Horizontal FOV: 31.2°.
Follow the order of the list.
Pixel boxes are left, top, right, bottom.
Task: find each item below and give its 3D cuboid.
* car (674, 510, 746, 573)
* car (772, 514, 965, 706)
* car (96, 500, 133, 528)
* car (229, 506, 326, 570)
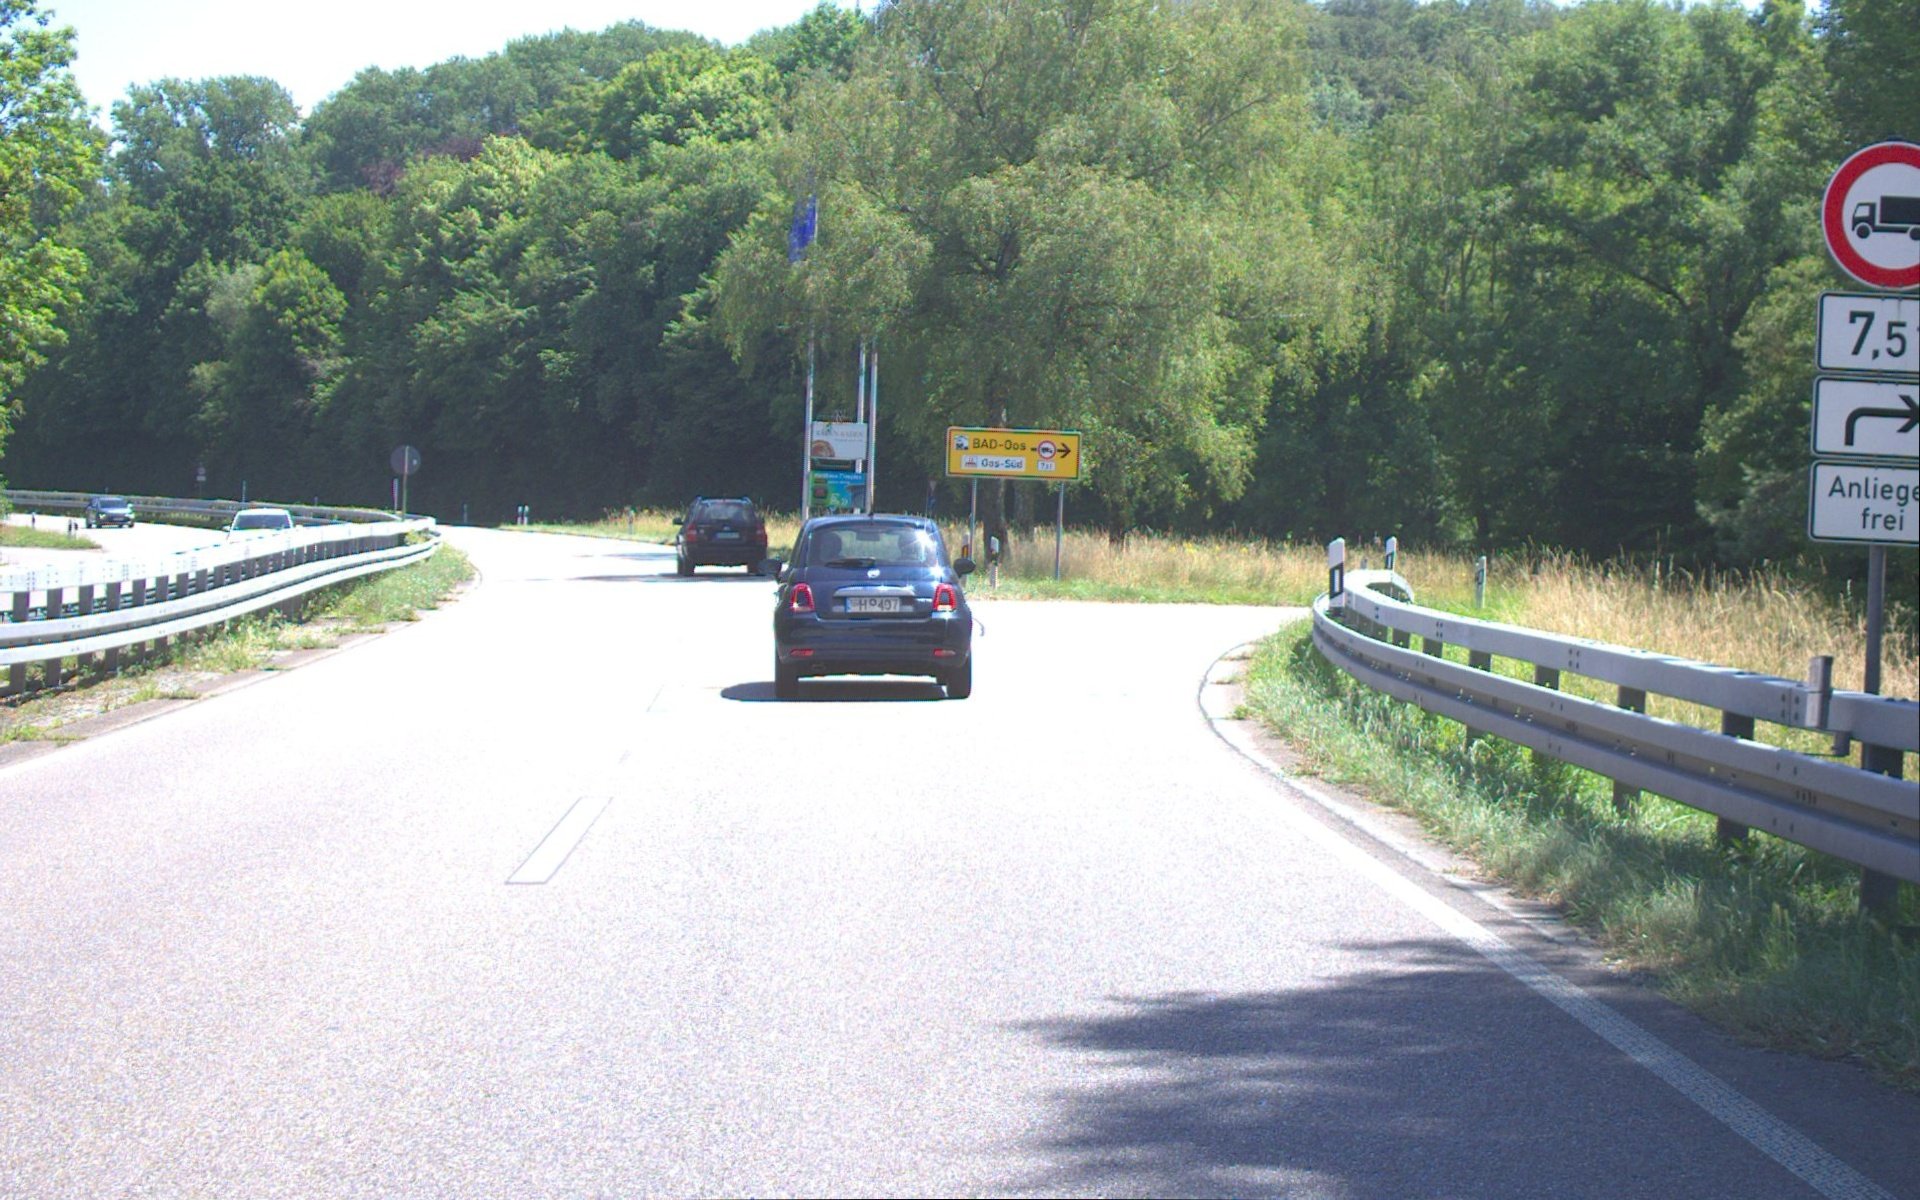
[{"bbox_3d":[-5.415,-1.286,74.382,1.525,1.309,3.415,0,2,-4],"label":"car"},{"bbox_3d":[-0.727,0.034,28.924,1.513,1.495,3.590,0,2,0],"label":"car"},{"bbox_3d":[-42.334,-4.323,172.096,1.440,1.376,3.850,-1,2,-20],"label":"car"},{"bbox_3d":[-17.199,-1.576,86.793,1.755,1.567,4.414,0,2,-3],"label":"car"}]
